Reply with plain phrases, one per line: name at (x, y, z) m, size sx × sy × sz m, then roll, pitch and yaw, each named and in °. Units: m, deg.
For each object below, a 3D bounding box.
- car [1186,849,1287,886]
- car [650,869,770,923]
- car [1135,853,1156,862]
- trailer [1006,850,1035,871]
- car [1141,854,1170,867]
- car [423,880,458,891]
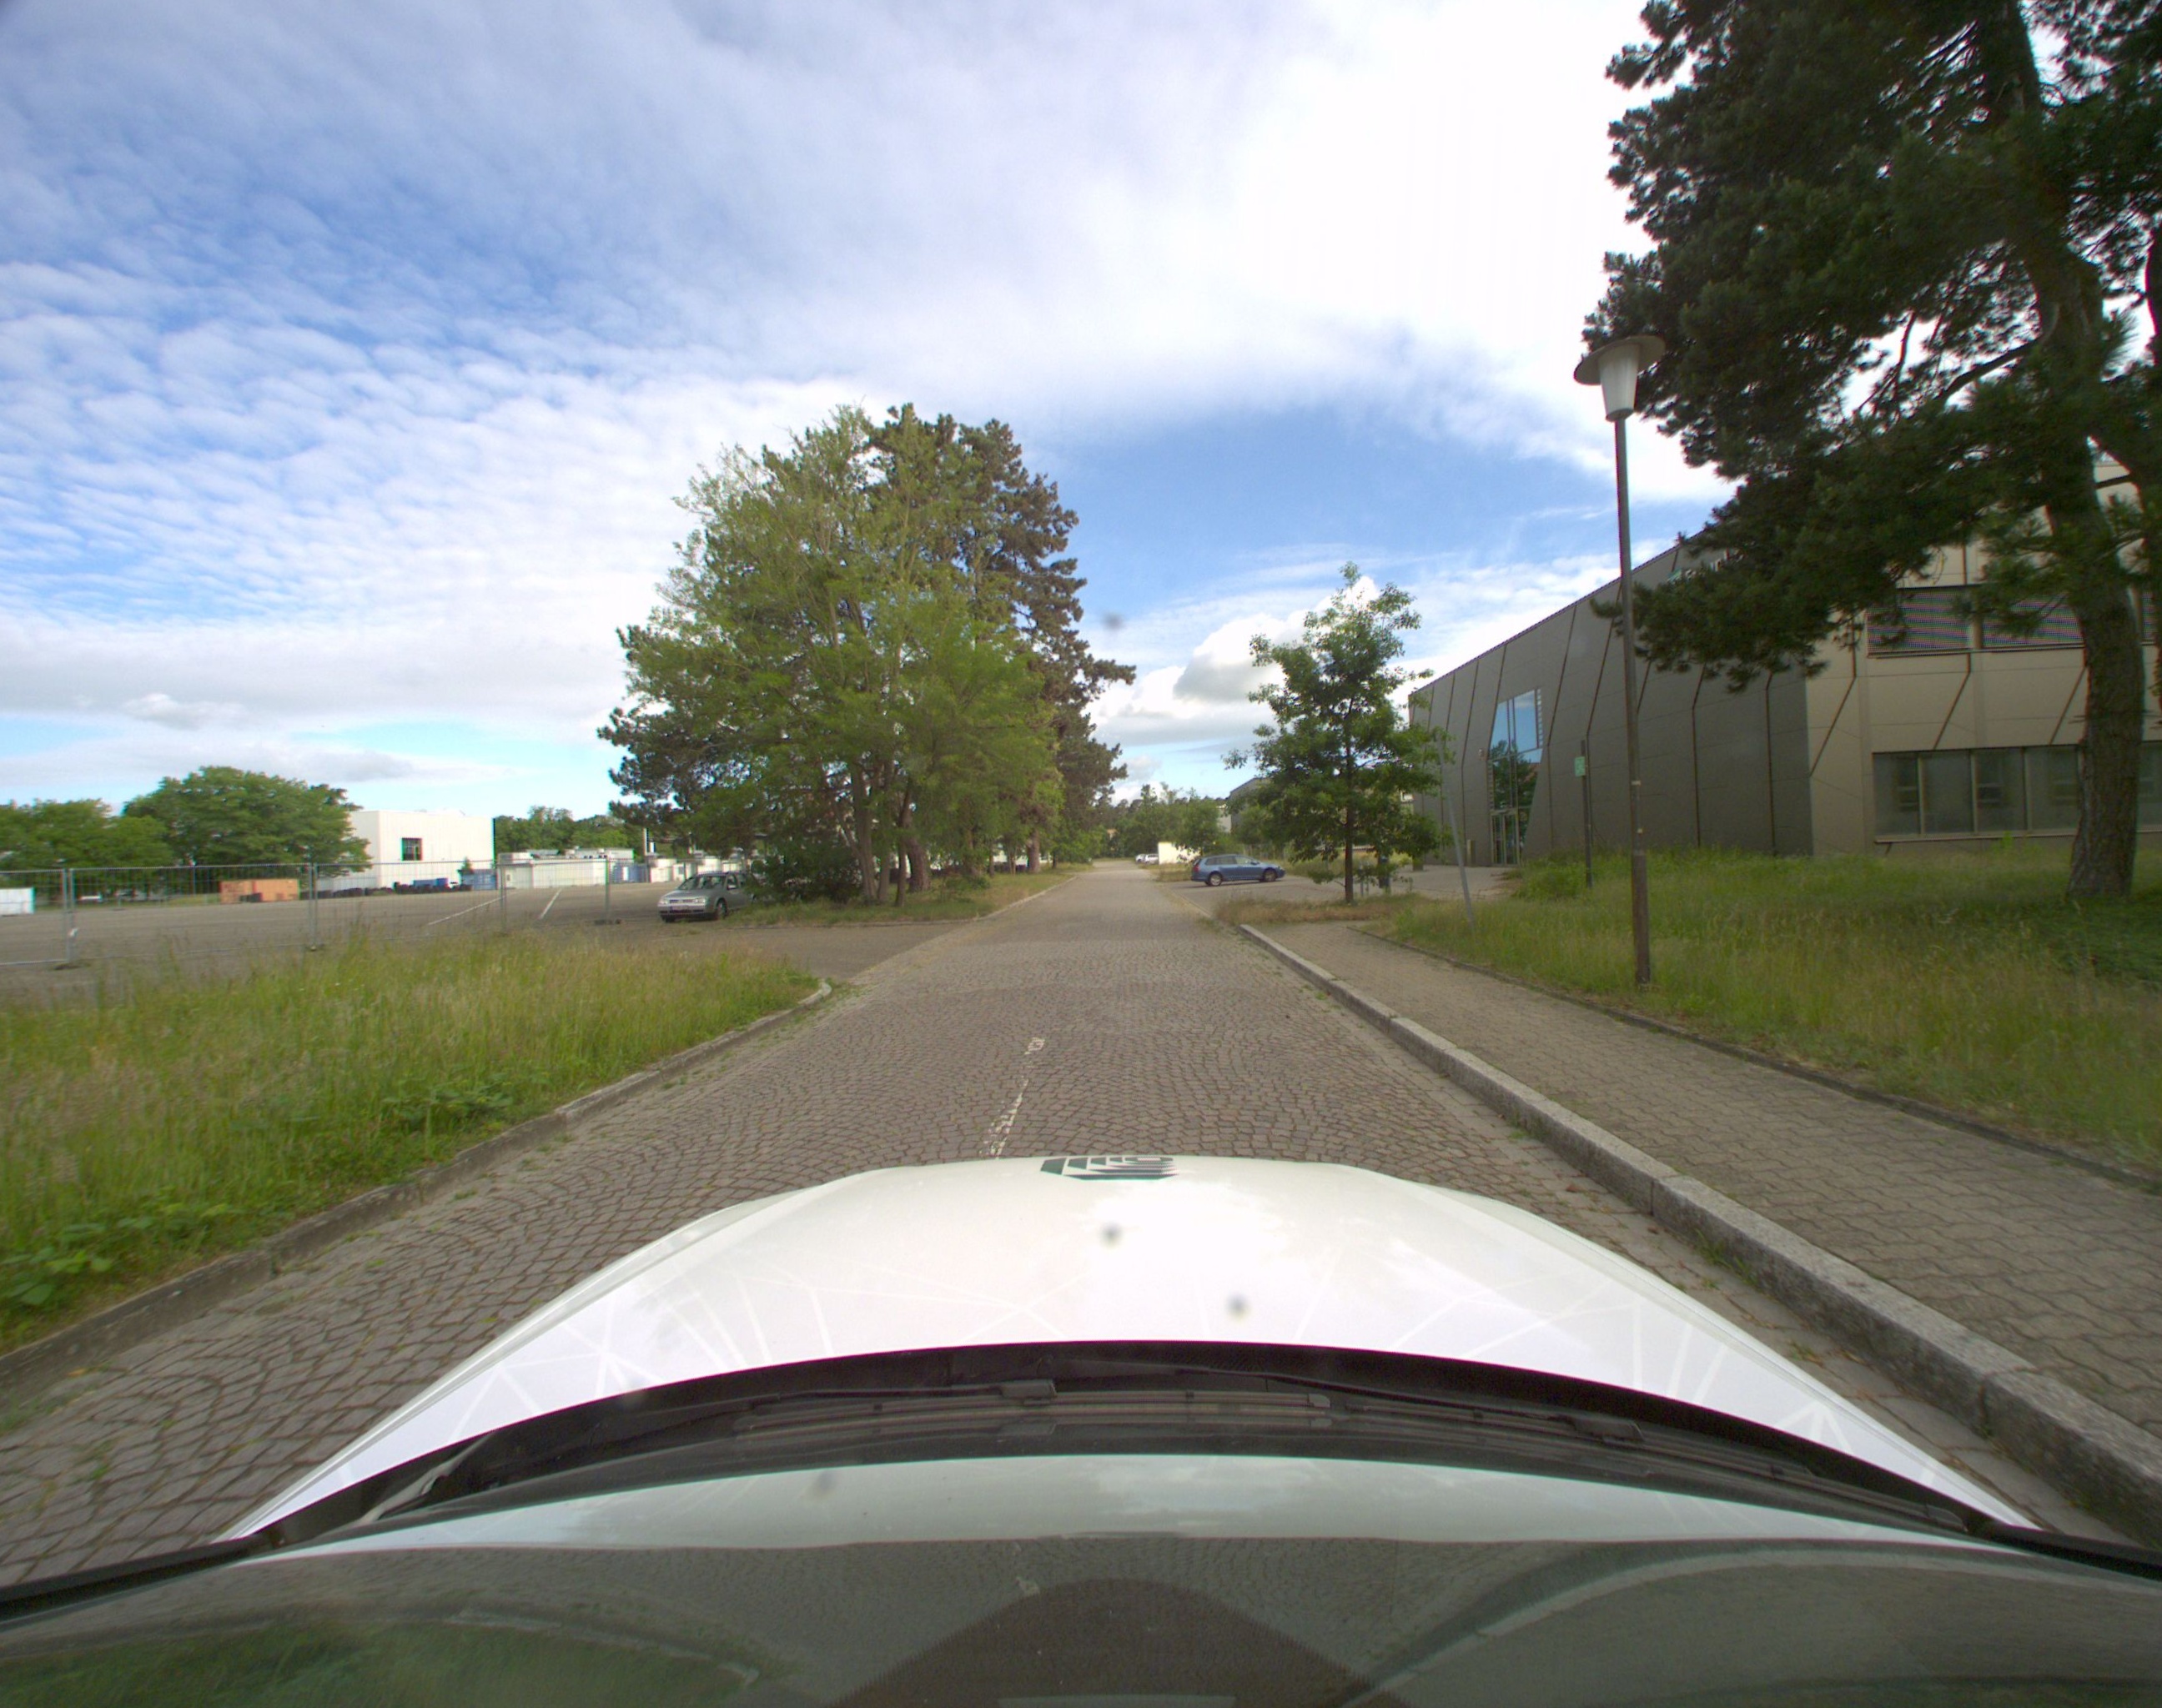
car at (7.502, 0.662, 39.619) m, size 4.509 × 1.443 × 1.822 m, roll -4°, pitch 0°, yaw -1°
car at (-11.566, 1.258, 25.748) m, size 1.710 × 1.438 × 4.466 m, roll -2°, pitch 0°, yaw 0°
car at (12.602, 0.731, 159.288) m, size 4.008 × 1.502 × 1.549 m, roll -2°, pitch 0°, yaw 3°
trailer at (-9.355, 0.988, 126.491) m, size 3.144 × 3.067 × 8.794 m, roll -2°, pitch 0°, yaw 4°
car at (10.341, 0.881, 113.157) m, size 3.837 × 1.654 × 1.686 m, roll -2°, pitch 0°, yaw -1°
car at (-97.393, 4.740, 123.781) m, size 3.953 × 1.533 × 1.630 m, roll -2°, pitch 0°, yaw 0°
